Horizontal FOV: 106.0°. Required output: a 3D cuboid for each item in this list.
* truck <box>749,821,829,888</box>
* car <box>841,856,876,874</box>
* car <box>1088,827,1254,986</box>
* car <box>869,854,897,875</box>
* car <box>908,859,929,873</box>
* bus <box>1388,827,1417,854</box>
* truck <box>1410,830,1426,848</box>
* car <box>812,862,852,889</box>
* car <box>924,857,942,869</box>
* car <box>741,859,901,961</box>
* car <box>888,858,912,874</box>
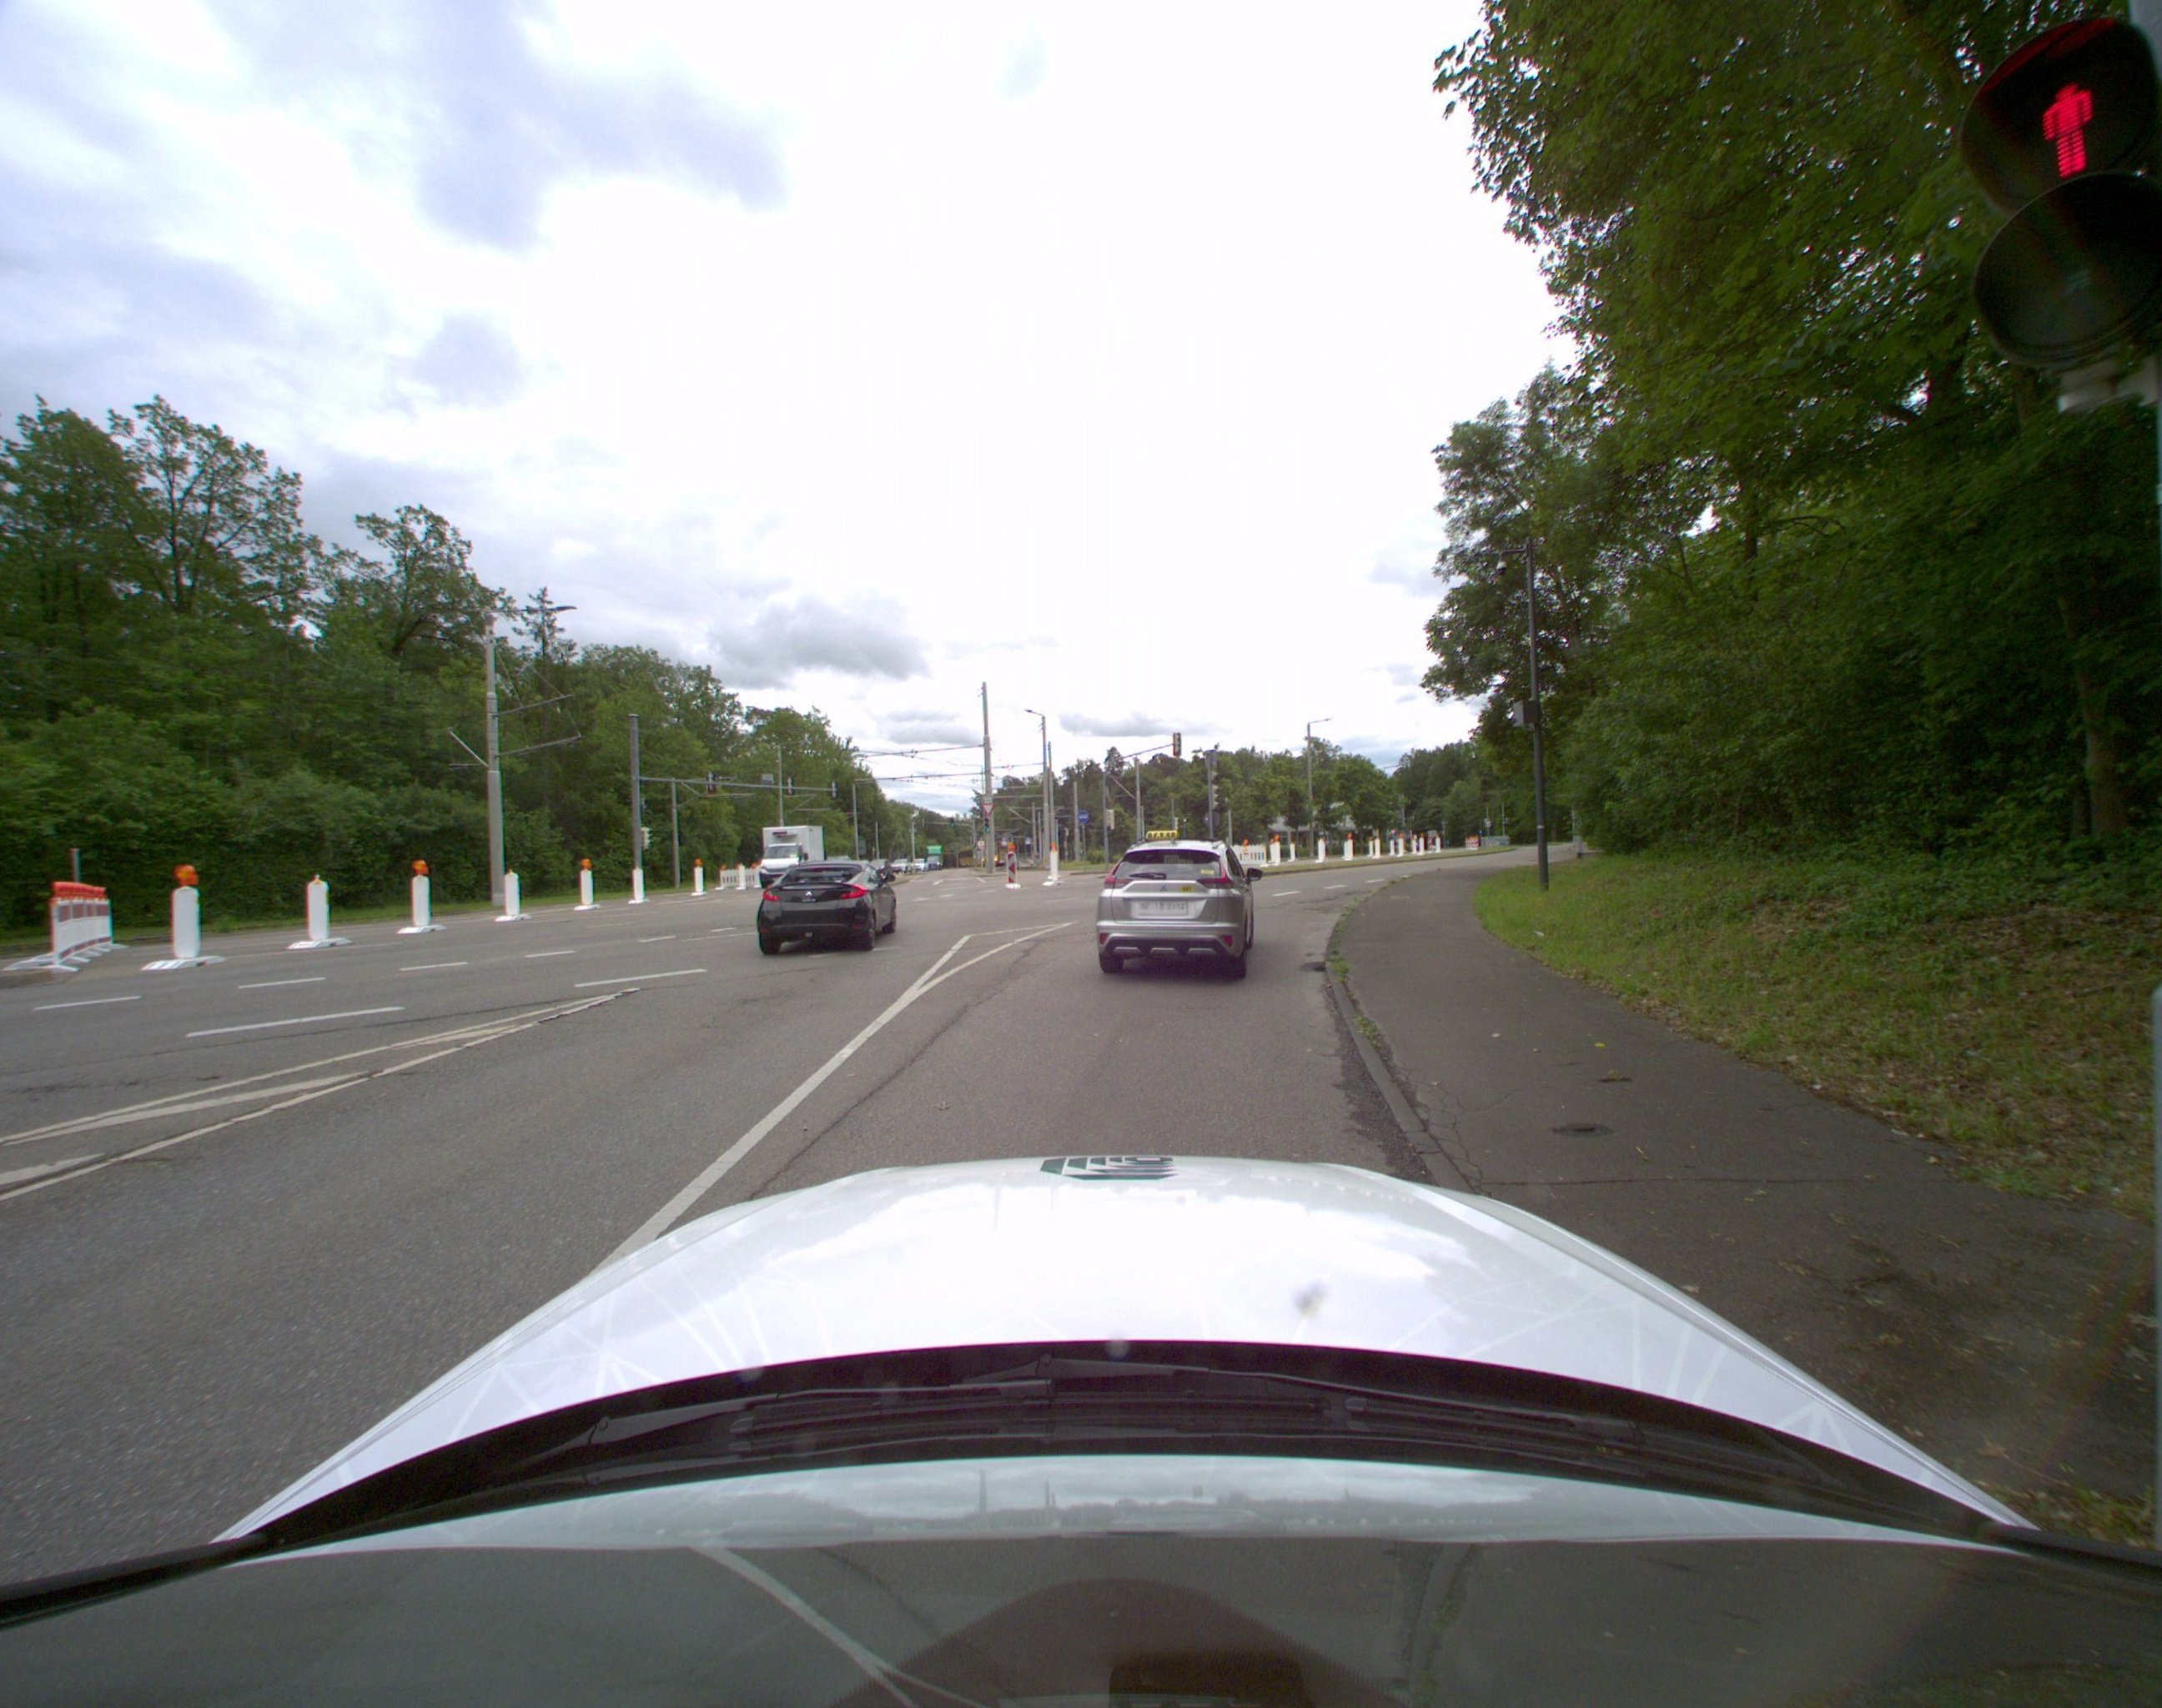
[{"bbox_3d":[-15.529,0.047,43.782,2.447,3.224,7.136,-3,0,-8],"label":"truck"},{"bbox_3d":[-18.713,0.941,68.685,1.959,1.361,4.680,-3,0,-6],"label":"car"},{"bbox_3d":[1.386,0.587,11.009,1.761,1.748,3.794,-1,0,13],"label":"car"},{"bbox_3d":[-19.111,1.005,78.746,1.959,1.845,4.680,-2,0,-6],"label":"car"},{"bbox_3d":[-19.018,1.379,95.521,1.959,1.541,4.387,-2,0,-6],"label":"car"},{"bbox_3d":[45.503,-1.943,115.520,2.799,3.603,12.863,-2,0,17],"label":"bus"},{"bbox_3d":[65.554,-2.883,158.628,2.463,3.286,8.563,-3,0,20],"label":"truck"},{"bbox_3d":[-17.908,1.539,58.818,1.961,1.750,4.833,-2,0,-8],"label":"car"},{"bbox_3d":[-19.821,1.174,109.352,1.959,1.540,4.301,-2,0,-6],"label":"car"},{"bbox_3d":[-4.115,0.811,13.461,1.772,1.361,3.469,-3,0,-6],"label":"car"},{"bbox_3d":[-19.755,1.289,88.864,1.959,1.607,4.301,-2,0,-6],"label":"car"}]
